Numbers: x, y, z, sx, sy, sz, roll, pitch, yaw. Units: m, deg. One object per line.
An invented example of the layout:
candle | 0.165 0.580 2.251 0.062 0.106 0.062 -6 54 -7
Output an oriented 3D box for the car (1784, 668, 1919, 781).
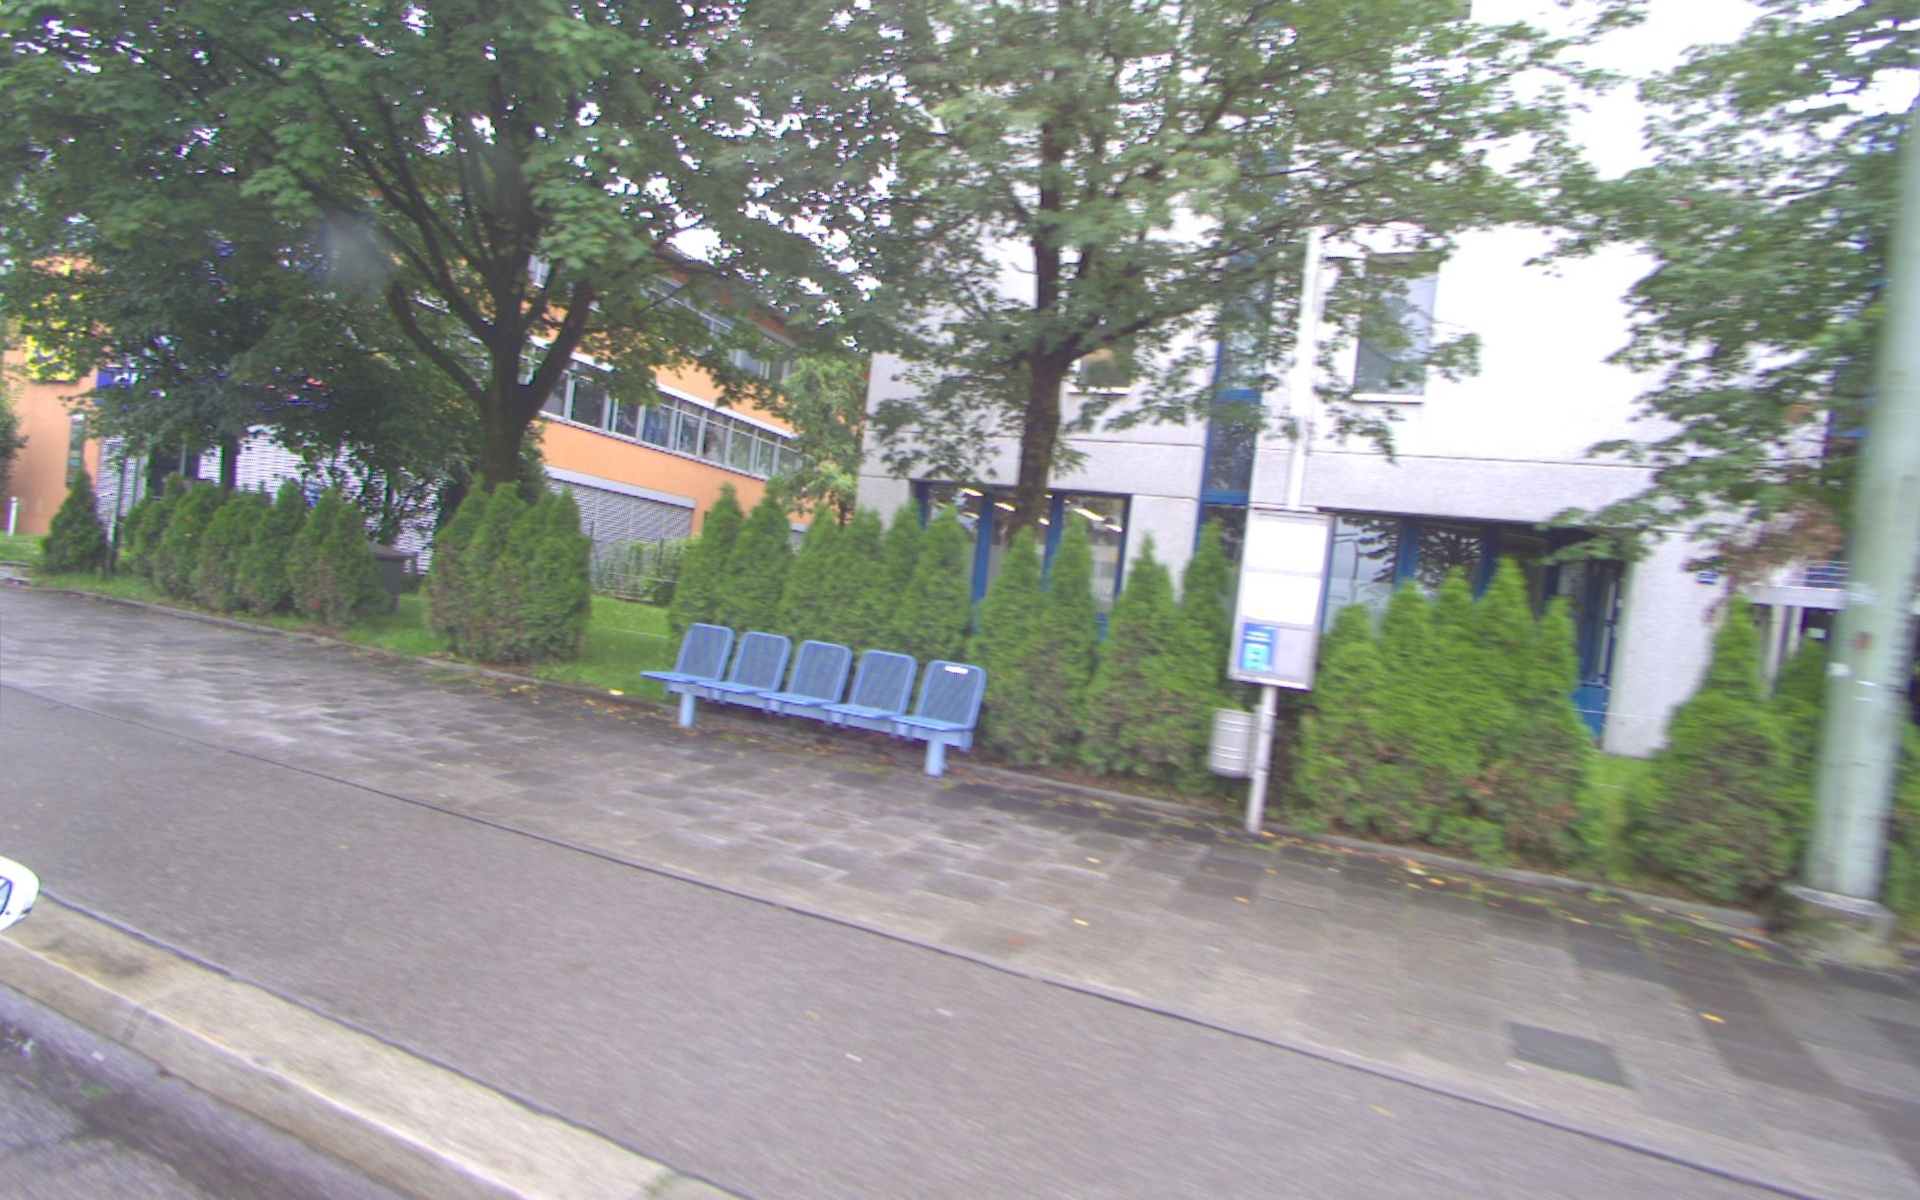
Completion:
car | 14.929 1.991 16.577 1.843 1.437 4.155 8 1 41

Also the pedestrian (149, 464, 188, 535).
pedestrian | -20.516 -2.592 26.071 0.655 1.734 0.654 4 3 -42
